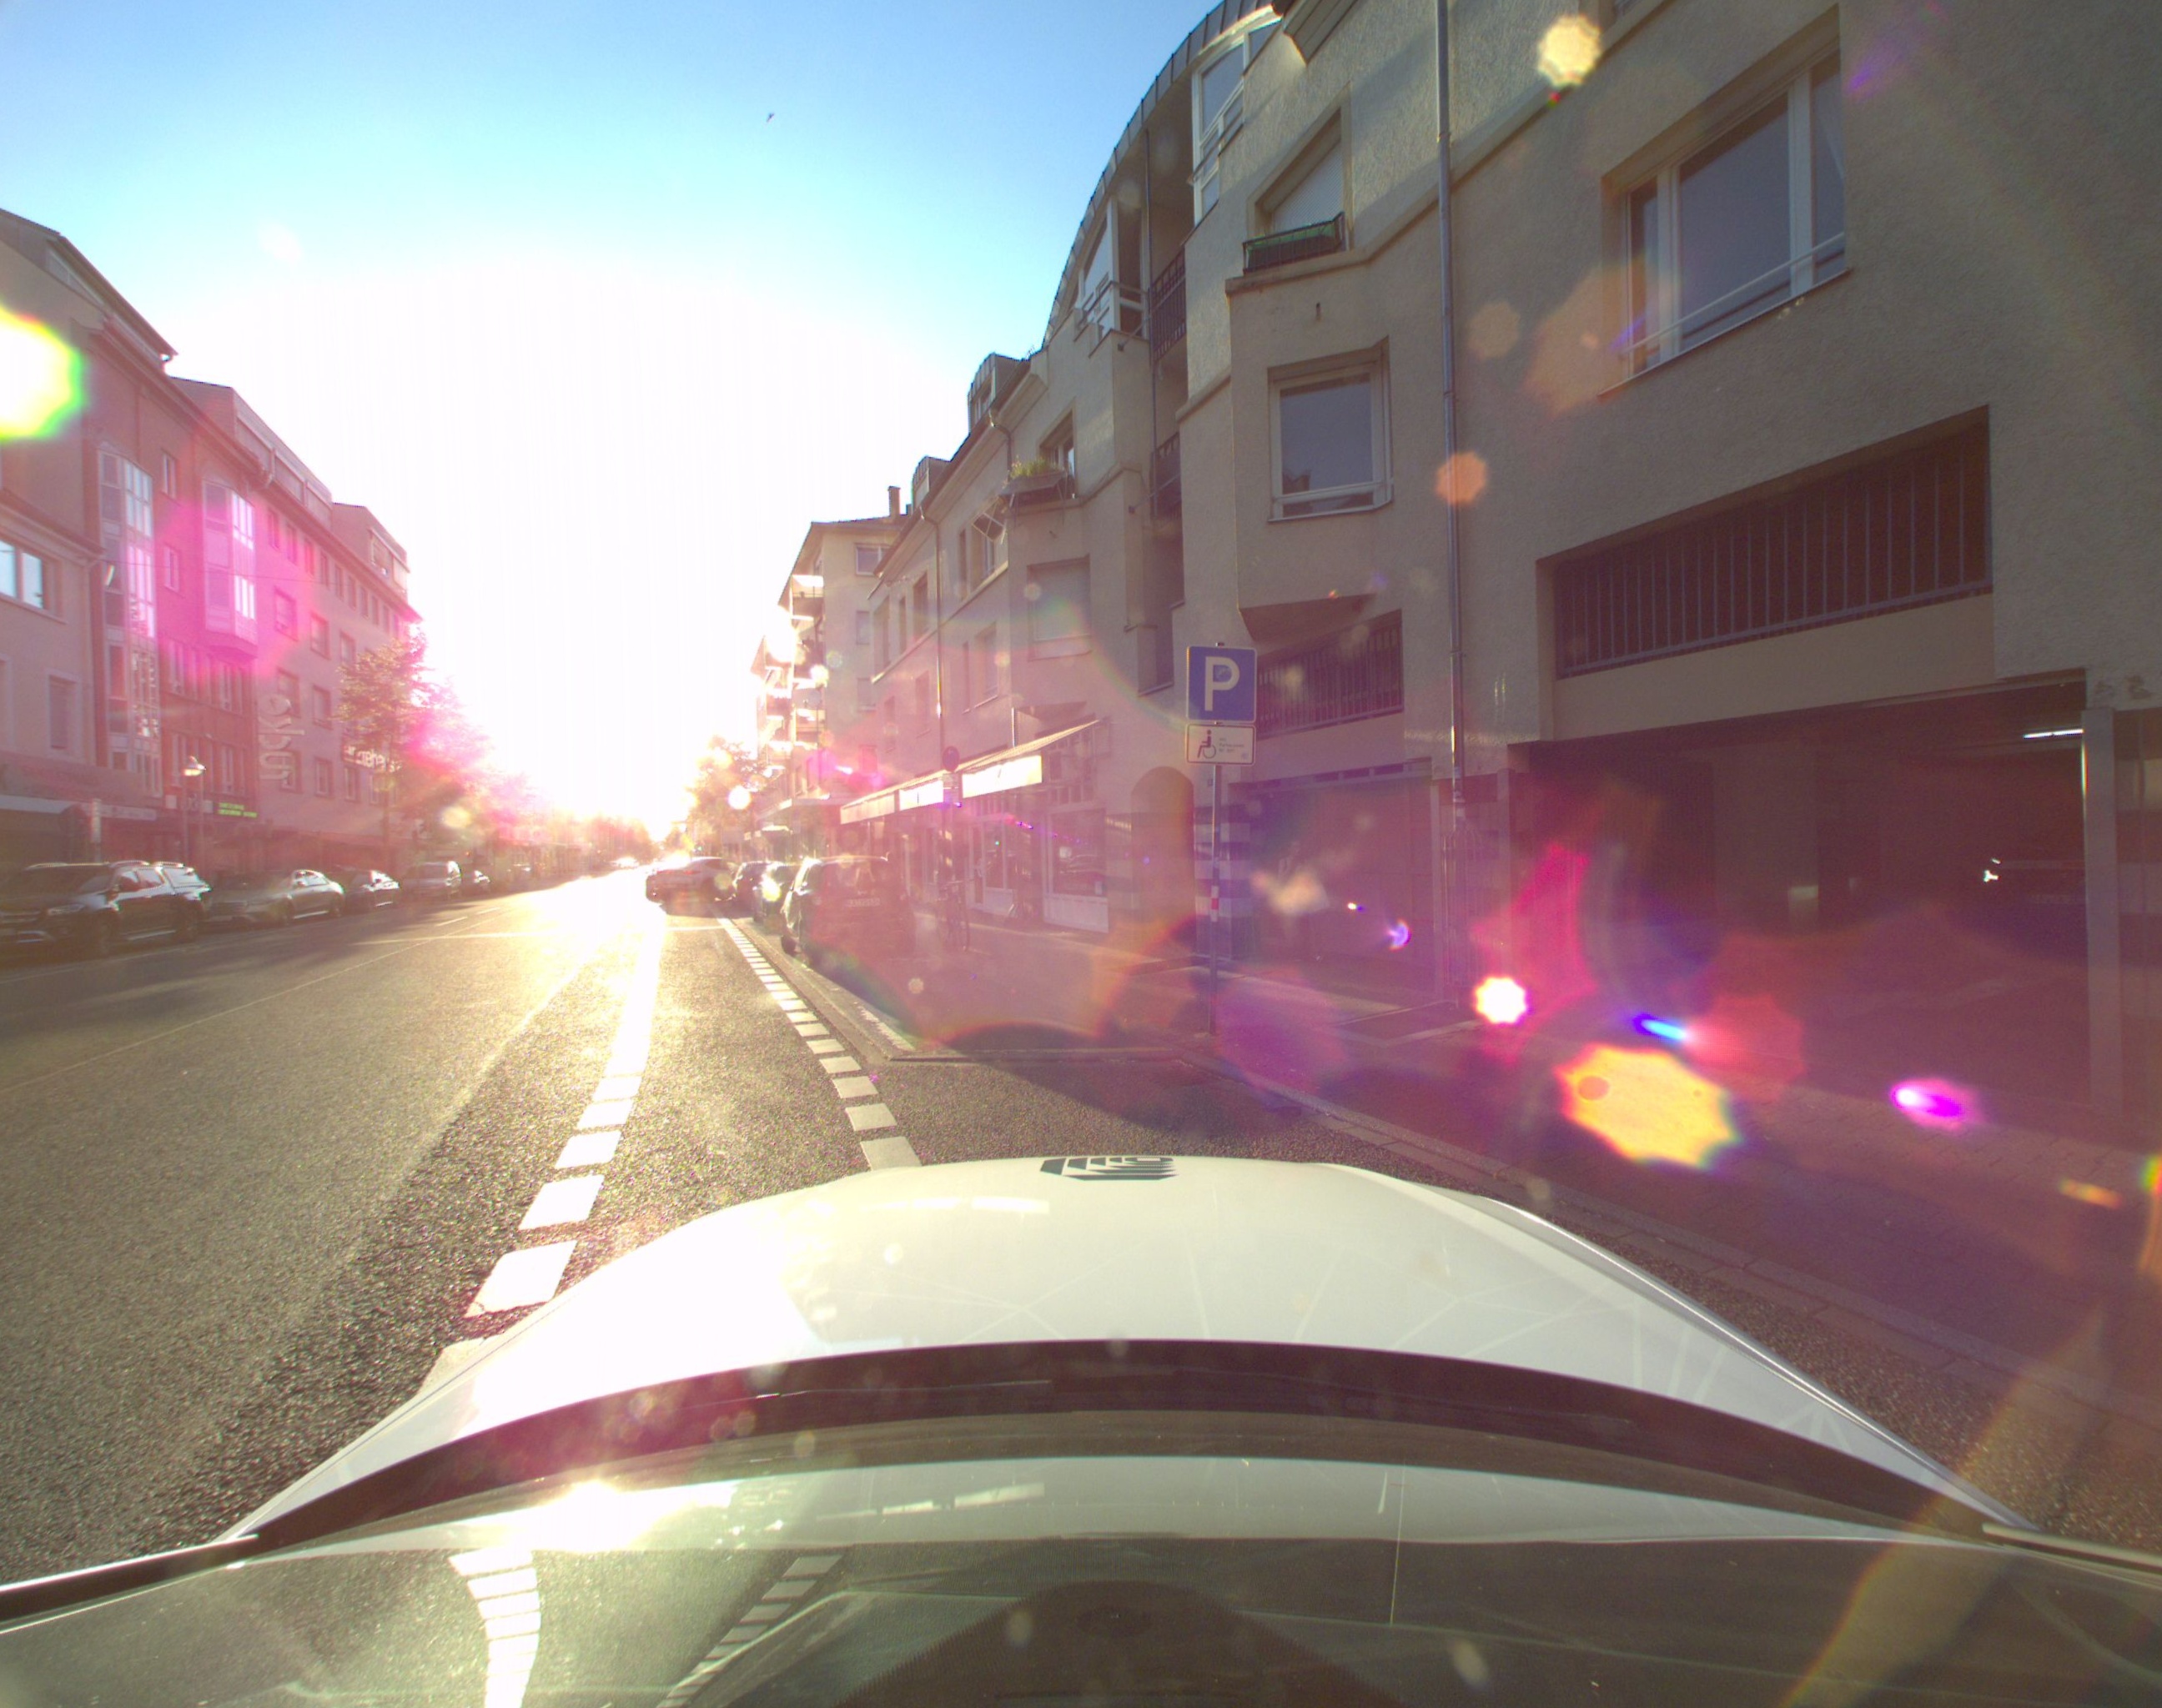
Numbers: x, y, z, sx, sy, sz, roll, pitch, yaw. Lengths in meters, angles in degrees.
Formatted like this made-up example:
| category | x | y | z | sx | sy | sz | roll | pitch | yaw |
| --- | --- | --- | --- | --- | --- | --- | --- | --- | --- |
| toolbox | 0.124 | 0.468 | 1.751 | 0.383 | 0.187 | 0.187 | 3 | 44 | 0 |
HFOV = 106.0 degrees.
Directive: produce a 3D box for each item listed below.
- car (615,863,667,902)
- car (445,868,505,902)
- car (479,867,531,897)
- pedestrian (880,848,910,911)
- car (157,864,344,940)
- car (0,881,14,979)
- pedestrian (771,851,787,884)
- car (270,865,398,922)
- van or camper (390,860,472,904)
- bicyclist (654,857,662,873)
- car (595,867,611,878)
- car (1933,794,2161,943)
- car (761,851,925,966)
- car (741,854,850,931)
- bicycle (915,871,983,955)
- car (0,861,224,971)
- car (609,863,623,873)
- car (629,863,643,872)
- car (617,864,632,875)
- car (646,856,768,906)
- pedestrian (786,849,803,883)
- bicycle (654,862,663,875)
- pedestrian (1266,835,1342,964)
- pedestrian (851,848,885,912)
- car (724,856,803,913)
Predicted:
| category | x | y | z | sx | sy | sz | roll | pitch | yaw |
| --- | --- | --- | --- | --- | --- | --- | --- | --- | --- |
| car | -18.304 | 1.125 | 33.995 | 1.698 | 1.503 | 3.755 | 0 | 0 | -25 |
| car | -30.522 | 1.523 | 41.128 | 1.698 | 1.502 | 3.755 | -2 | 0 | -25 |
| car | -32.338 | 1.517 | 45.825 | 1.698 | 1.502 | 3.755 | -2 | 0 | -25 |
| pedestrian | -5.185 | 0.684 | 22.664 | 0.562 | 1.700 | 0.824 | -2 | 0 | -28 |
| car | -21.946 | 1.170 | 21.805 | 2.004 | 1.655 | 4.588 | -3 | 1 | -26 |
| car | -16.350 | 1.211 | 10.284 | 1.695 | 1.488 | 4.371 | -5 | 2 | -28 |
| pedestrian | -16.862 | 0.736 | 45.485 | 0.722 | 1.791 | 0.661 | -2 | 0 | -27 |
| car | -24.651 | 1.227 | 27.085 | 2.005 | 1.655 | 4.440 | -2 | 0 | -28 |
| van or camper | -28.566 | 1.167 | 35.963 | 1.797 | 1.773 | 4.520 | -2 | 0 | -25 |
| bicyclist | -41.303 | 1.049 | 79.504 | 0.549 | 1.580 | 0.796 | -2 | 0 | -24 |
| car | -72.607 | 2.743 | 123.683 | 1.698 | 1.502 | 3.755 | -2 | 0 | -25 |
| car | 13.092 | 0.073 | 10.132 | 4.250 | 1.573 | 1.807 | -3 | 0 | -19 |
| car | -4.112 | 0.781 | 13.642 | 1.800 | 1.580 | 3.930 | -2 | 0 | -29 |
| car | -6.809 | 0.812 | 19.205 | 1.800 | 1.580 | 3.752 | -2 | 0 | -29 |
| bicycle | -2.171 | 0.911 | 13.206 | 0.561 | 1.206 | 1.961 | -2 | 0 | -24 |
| car | -19.294 | 1.079 | 15.871 | 2.006 | 1.777 | 5.269 | -3 | 1 | -29 |
| car | -75.540 | 2.296 | 132.391 | 1.698 | 1.502 | 3.755 | -2 | 0 | -25 |
| car | -72.635 | 2.201 | 132.926 | 1.698 | 1.502 | 3.755 | -2 | 0 | -25 |
| car | -70.218 | 2.409 | 125.255 | 1.698 | 1.502 | 3.755 | -2 | 0 | -25 |
| car | -13.505 | 0.916 | 29.714 | 1.861 | 1.697 | 4.334 | 0 | 0 | 11 |
| pedestrian | -15.536 | 0.640 | 44.192 | 0.722 | 1.791 | 0.661 | -2 | 0 | -27 |
| bicycle | -41.270 | 1.423 | 79.544 | 0.666 | 1.243 | 2.113 | 0 | -1 | -24 |
| pedestrian | 2.802 | 0.555 | 10.271 | 0.773 | 1.572 | 0.534 | -1 | 0 | 0 |
| pedestrian | -5.887 | 0.699 | 22.502 | 0.633 | 1.700 | 1.031 | -2 | 0 | -28 |
| car | -9.958 | 0.892 | 25.402 | 1.800 | 1.580 | 3.752 | -2 | 0 | -29 |
